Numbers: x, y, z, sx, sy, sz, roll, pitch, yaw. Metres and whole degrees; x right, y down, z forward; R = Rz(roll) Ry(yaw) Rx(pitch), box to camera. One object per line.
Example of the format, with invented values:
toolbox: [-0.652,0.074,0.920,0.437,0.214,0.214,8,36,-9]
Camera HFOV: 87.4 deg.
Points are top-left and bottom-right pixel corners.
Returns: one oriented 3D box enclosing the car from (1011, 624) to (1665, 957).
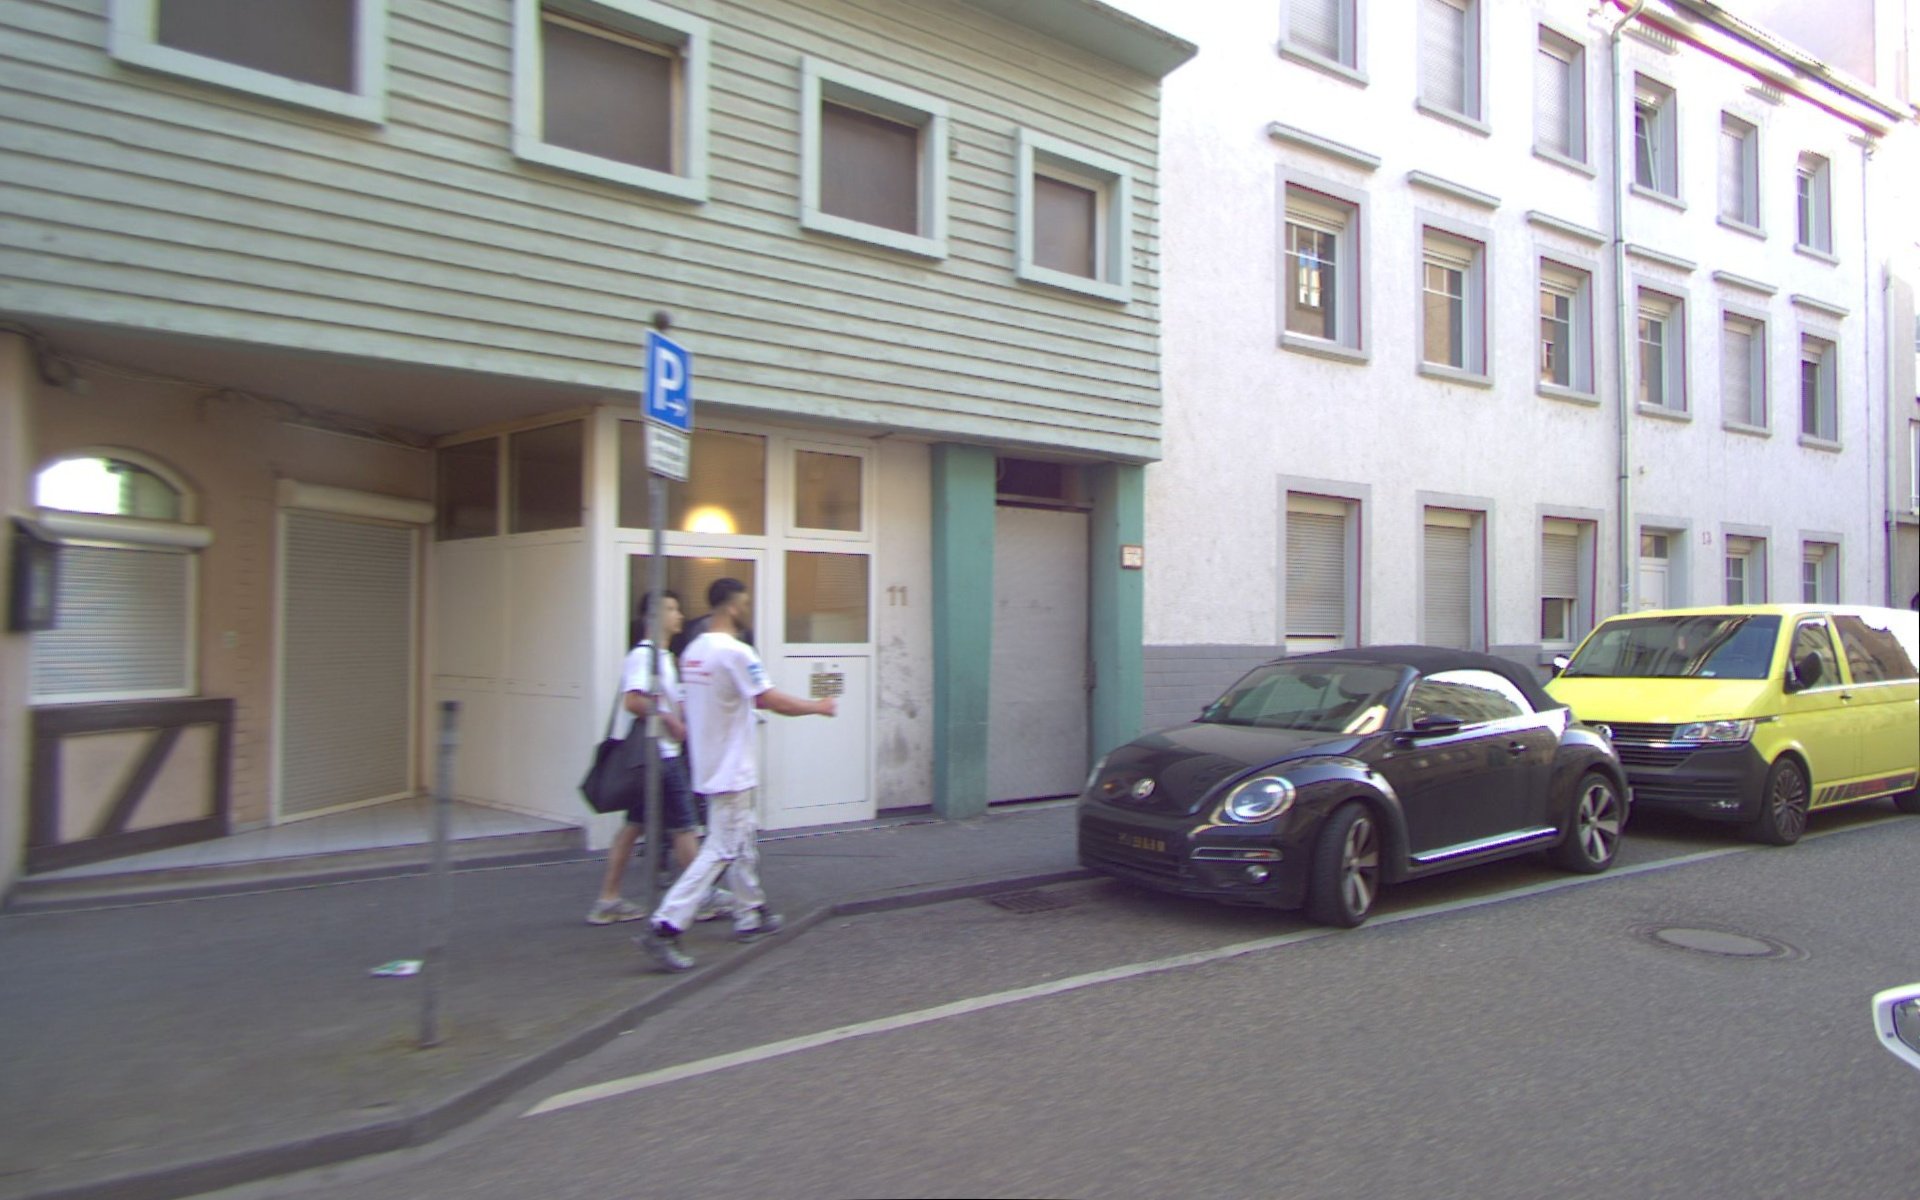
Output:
car: [2.498,0.973,6.426,4.031,1.505,1.810,2,-4,-32]

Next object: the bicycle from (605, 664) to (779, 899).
bicycle: [-1.631,1.041,6.473,0.808,1.178,2.133,1,-2,-8]

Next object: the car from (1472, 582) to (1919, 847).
car: [7.081,0.932,9.221,4.806,1.891,1.872,2,-4,-30]

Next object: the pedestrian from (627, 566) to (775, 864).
pedestrian: [-1.632,0.696,6.513,0.787,1.751,1.080,1,-2,-8]

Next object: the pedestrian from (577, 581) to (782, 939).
pedestrian: [-1.478,0.776,5.282,0.884,1.691,0.669,1,-3,-31]

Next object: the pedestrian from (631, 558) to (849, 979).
pedestrian: [-1.041,0.724,4.724,0.819,1.757,0.694,1,-3,-31]
